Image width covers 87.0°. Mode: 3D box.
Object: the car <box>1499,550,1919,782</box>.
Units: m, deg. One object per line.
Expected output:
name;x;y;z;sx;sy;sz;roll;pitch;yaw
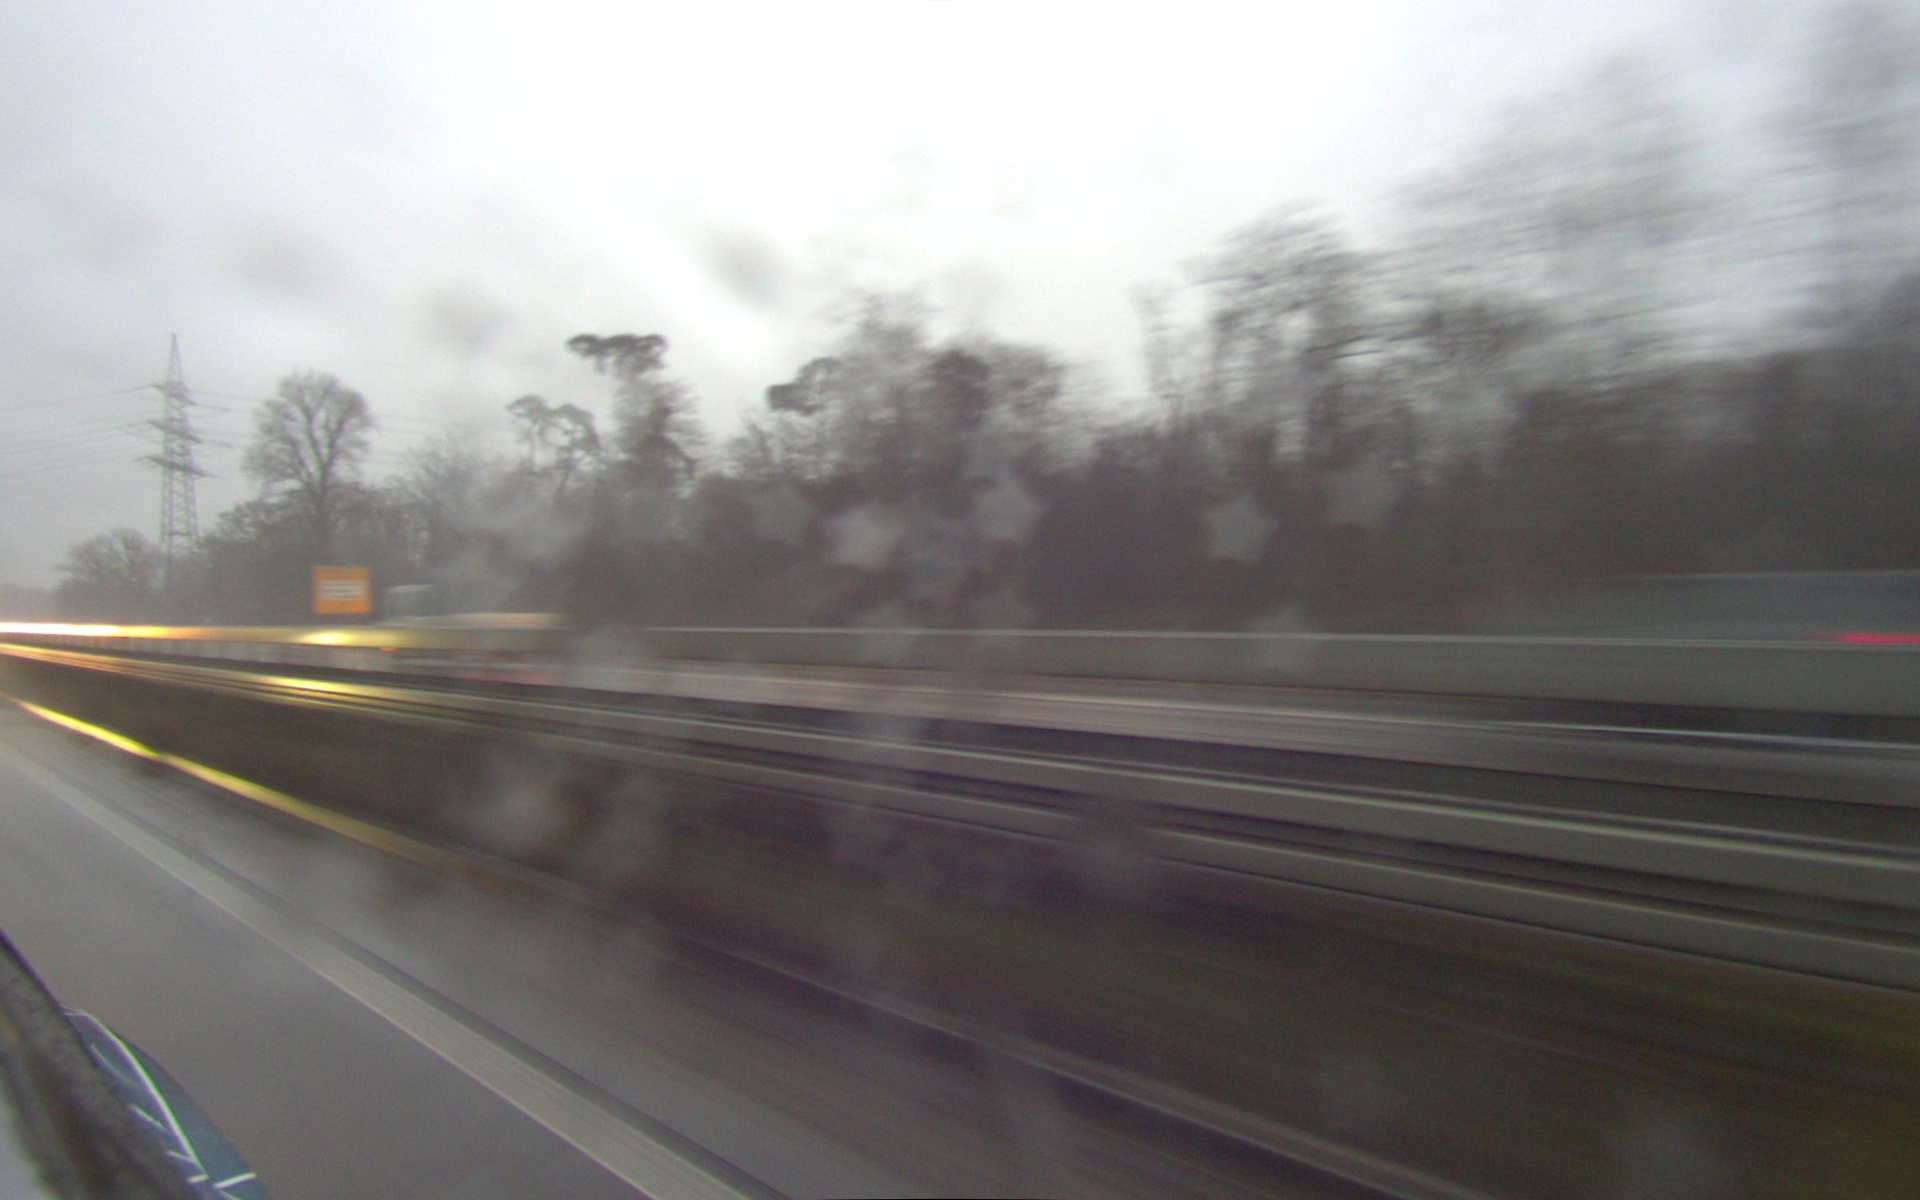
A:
car;7.330;0.426;7.676;5.427;1.607;1.973;-1;1;41

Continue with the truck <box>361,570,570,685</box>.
truck;-12.819;0.598;25.927;7.075;2.560;2.230;0;2;41

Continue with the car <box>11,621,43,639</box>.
car;-73.670;2.346;79.881;4.052;1.407;1.483;-1;-2;42
